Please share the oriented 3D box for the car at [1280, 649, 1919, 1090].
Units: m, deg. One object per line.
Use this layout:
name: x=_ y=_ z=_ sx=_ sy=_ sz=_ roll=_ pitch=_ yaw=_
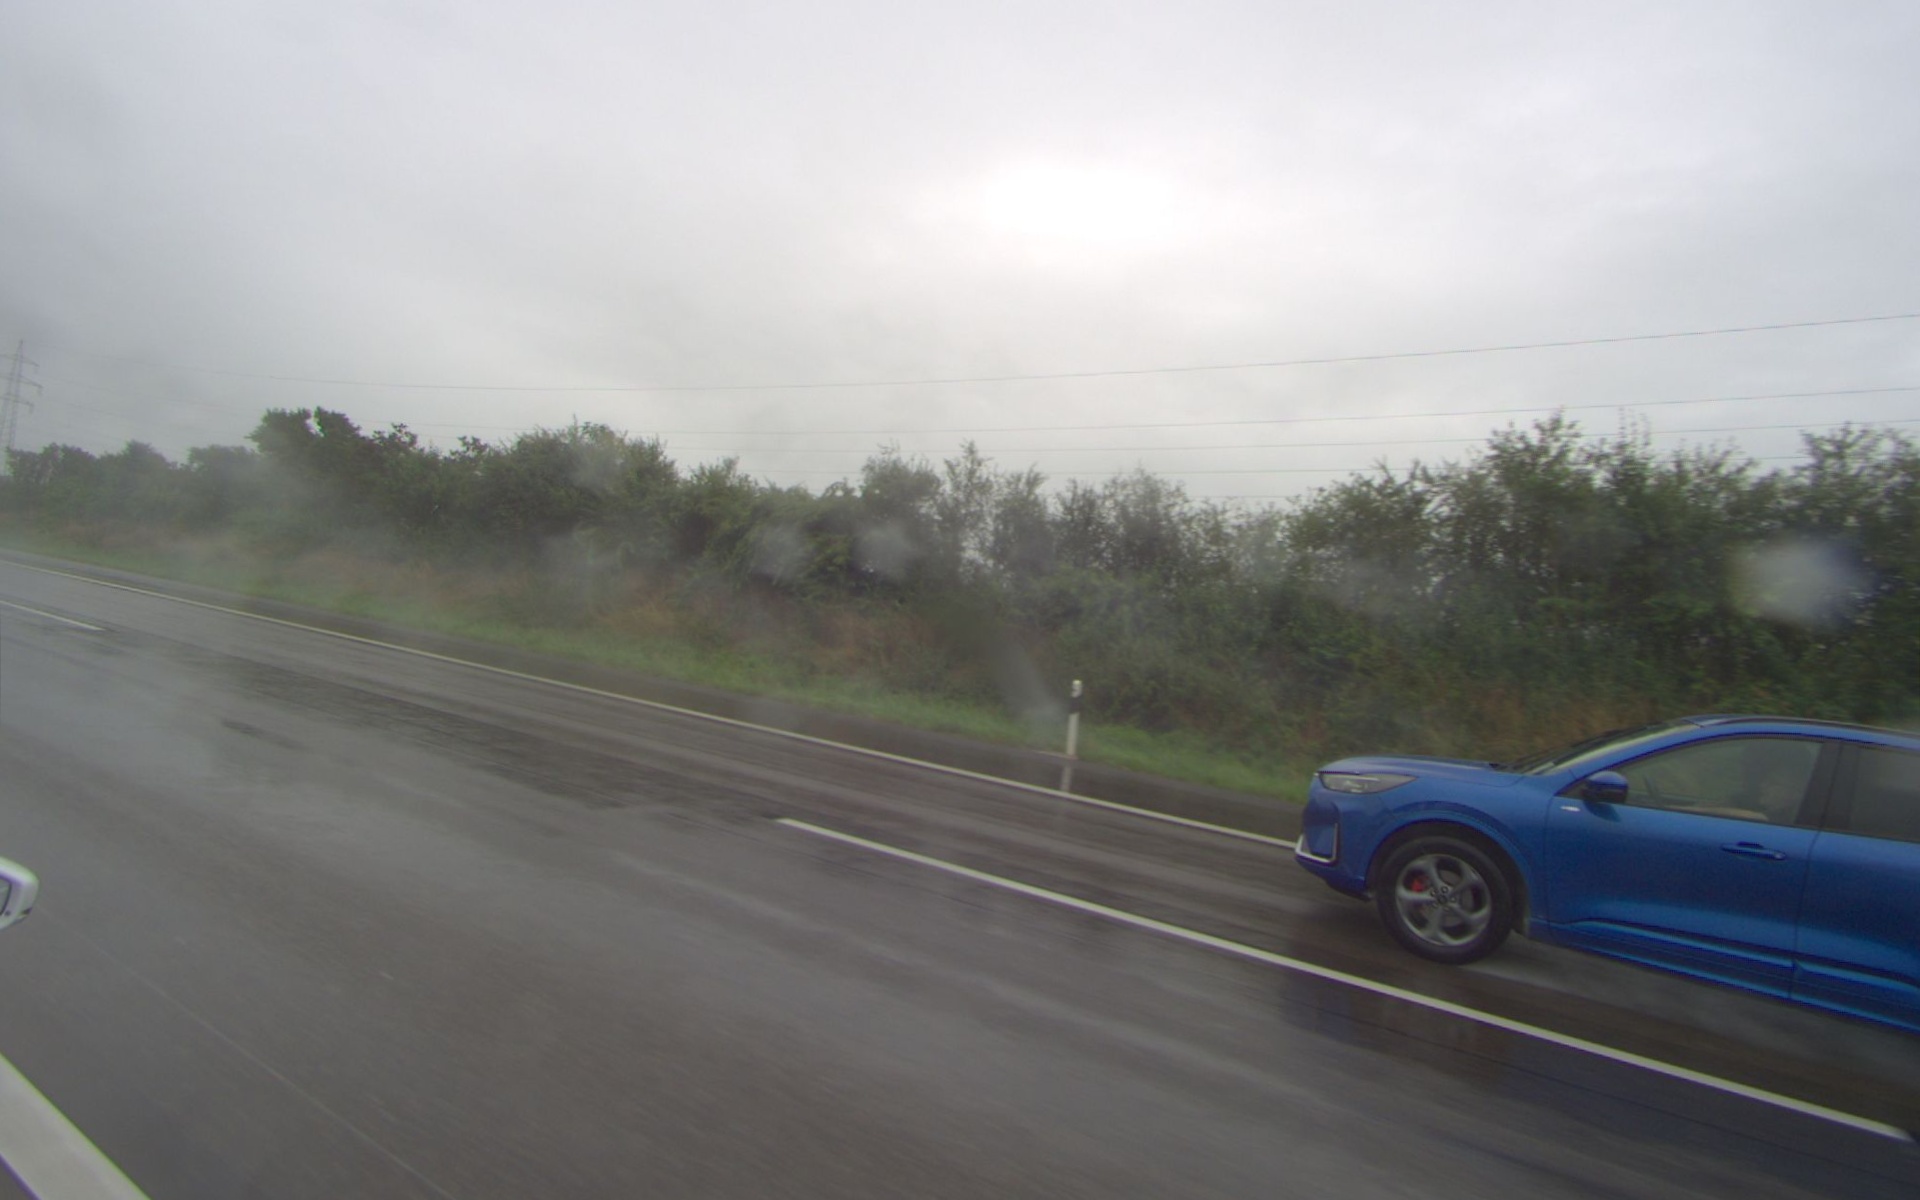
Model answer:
car: x=4.571 y=1.417 z=5.475 sx=4.913 sy=1.638 sz=1.996 roll=6 pitch=-2 yaw=34
